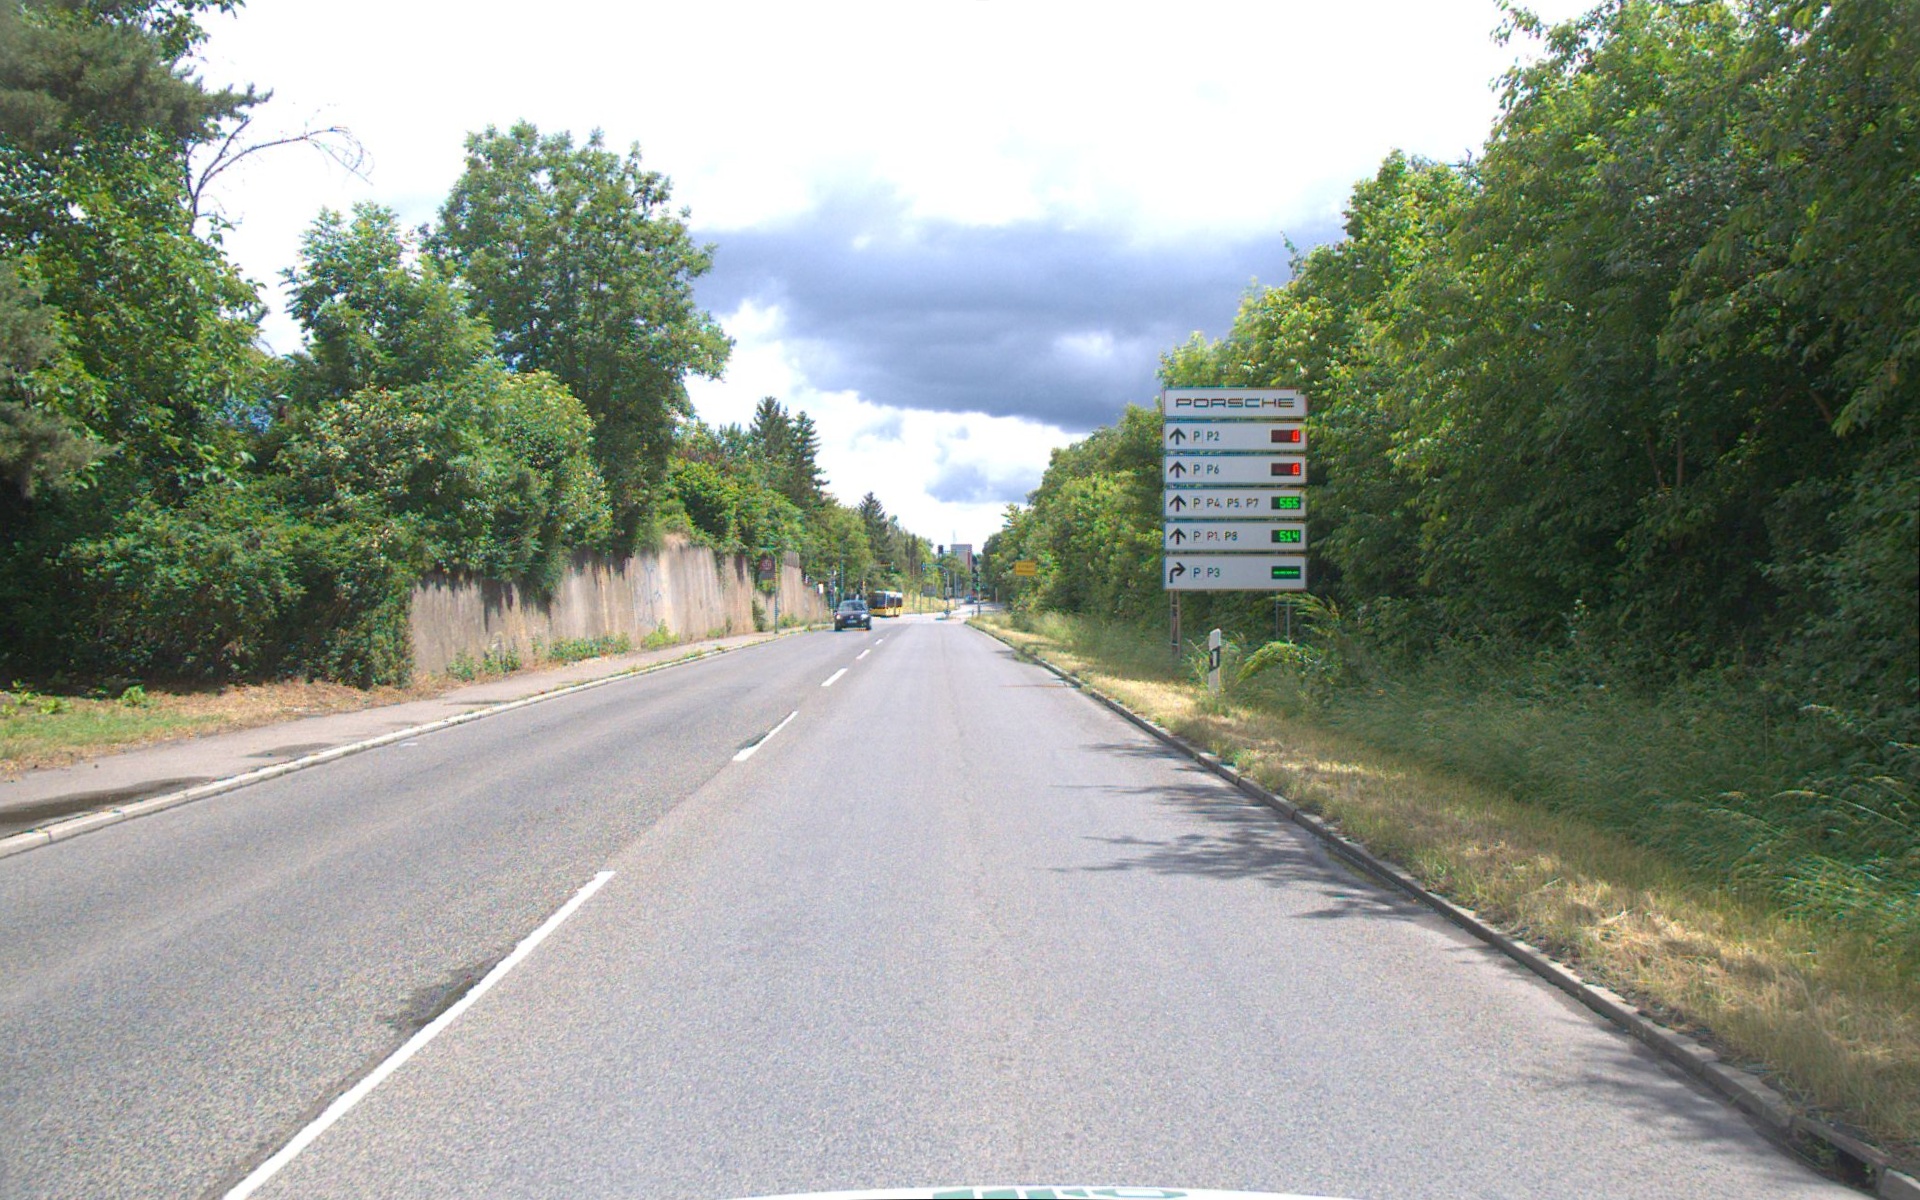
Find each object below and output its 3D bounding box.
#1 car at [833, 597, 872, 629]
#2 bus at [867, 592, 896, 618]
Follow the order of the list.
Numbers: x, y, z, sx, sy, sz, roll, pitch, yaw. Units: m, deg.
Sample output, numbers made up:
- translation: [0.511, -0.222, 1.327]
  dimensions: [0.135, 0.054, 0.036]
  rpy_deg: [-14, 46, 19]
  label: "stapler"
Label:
- translation: [-5.268, 0.599, 81.519]
  dimensions: [1.716, 1.489, 3.999]
  rpy_deg: [-1, 0, -1]
  label: "car"
- translation: [-9.445, 0.591, 200.197]
  dimensions: [2.834, 2.949, 7.670]
  rpy_deg: [1, 1, 2]
  label: "bus"
